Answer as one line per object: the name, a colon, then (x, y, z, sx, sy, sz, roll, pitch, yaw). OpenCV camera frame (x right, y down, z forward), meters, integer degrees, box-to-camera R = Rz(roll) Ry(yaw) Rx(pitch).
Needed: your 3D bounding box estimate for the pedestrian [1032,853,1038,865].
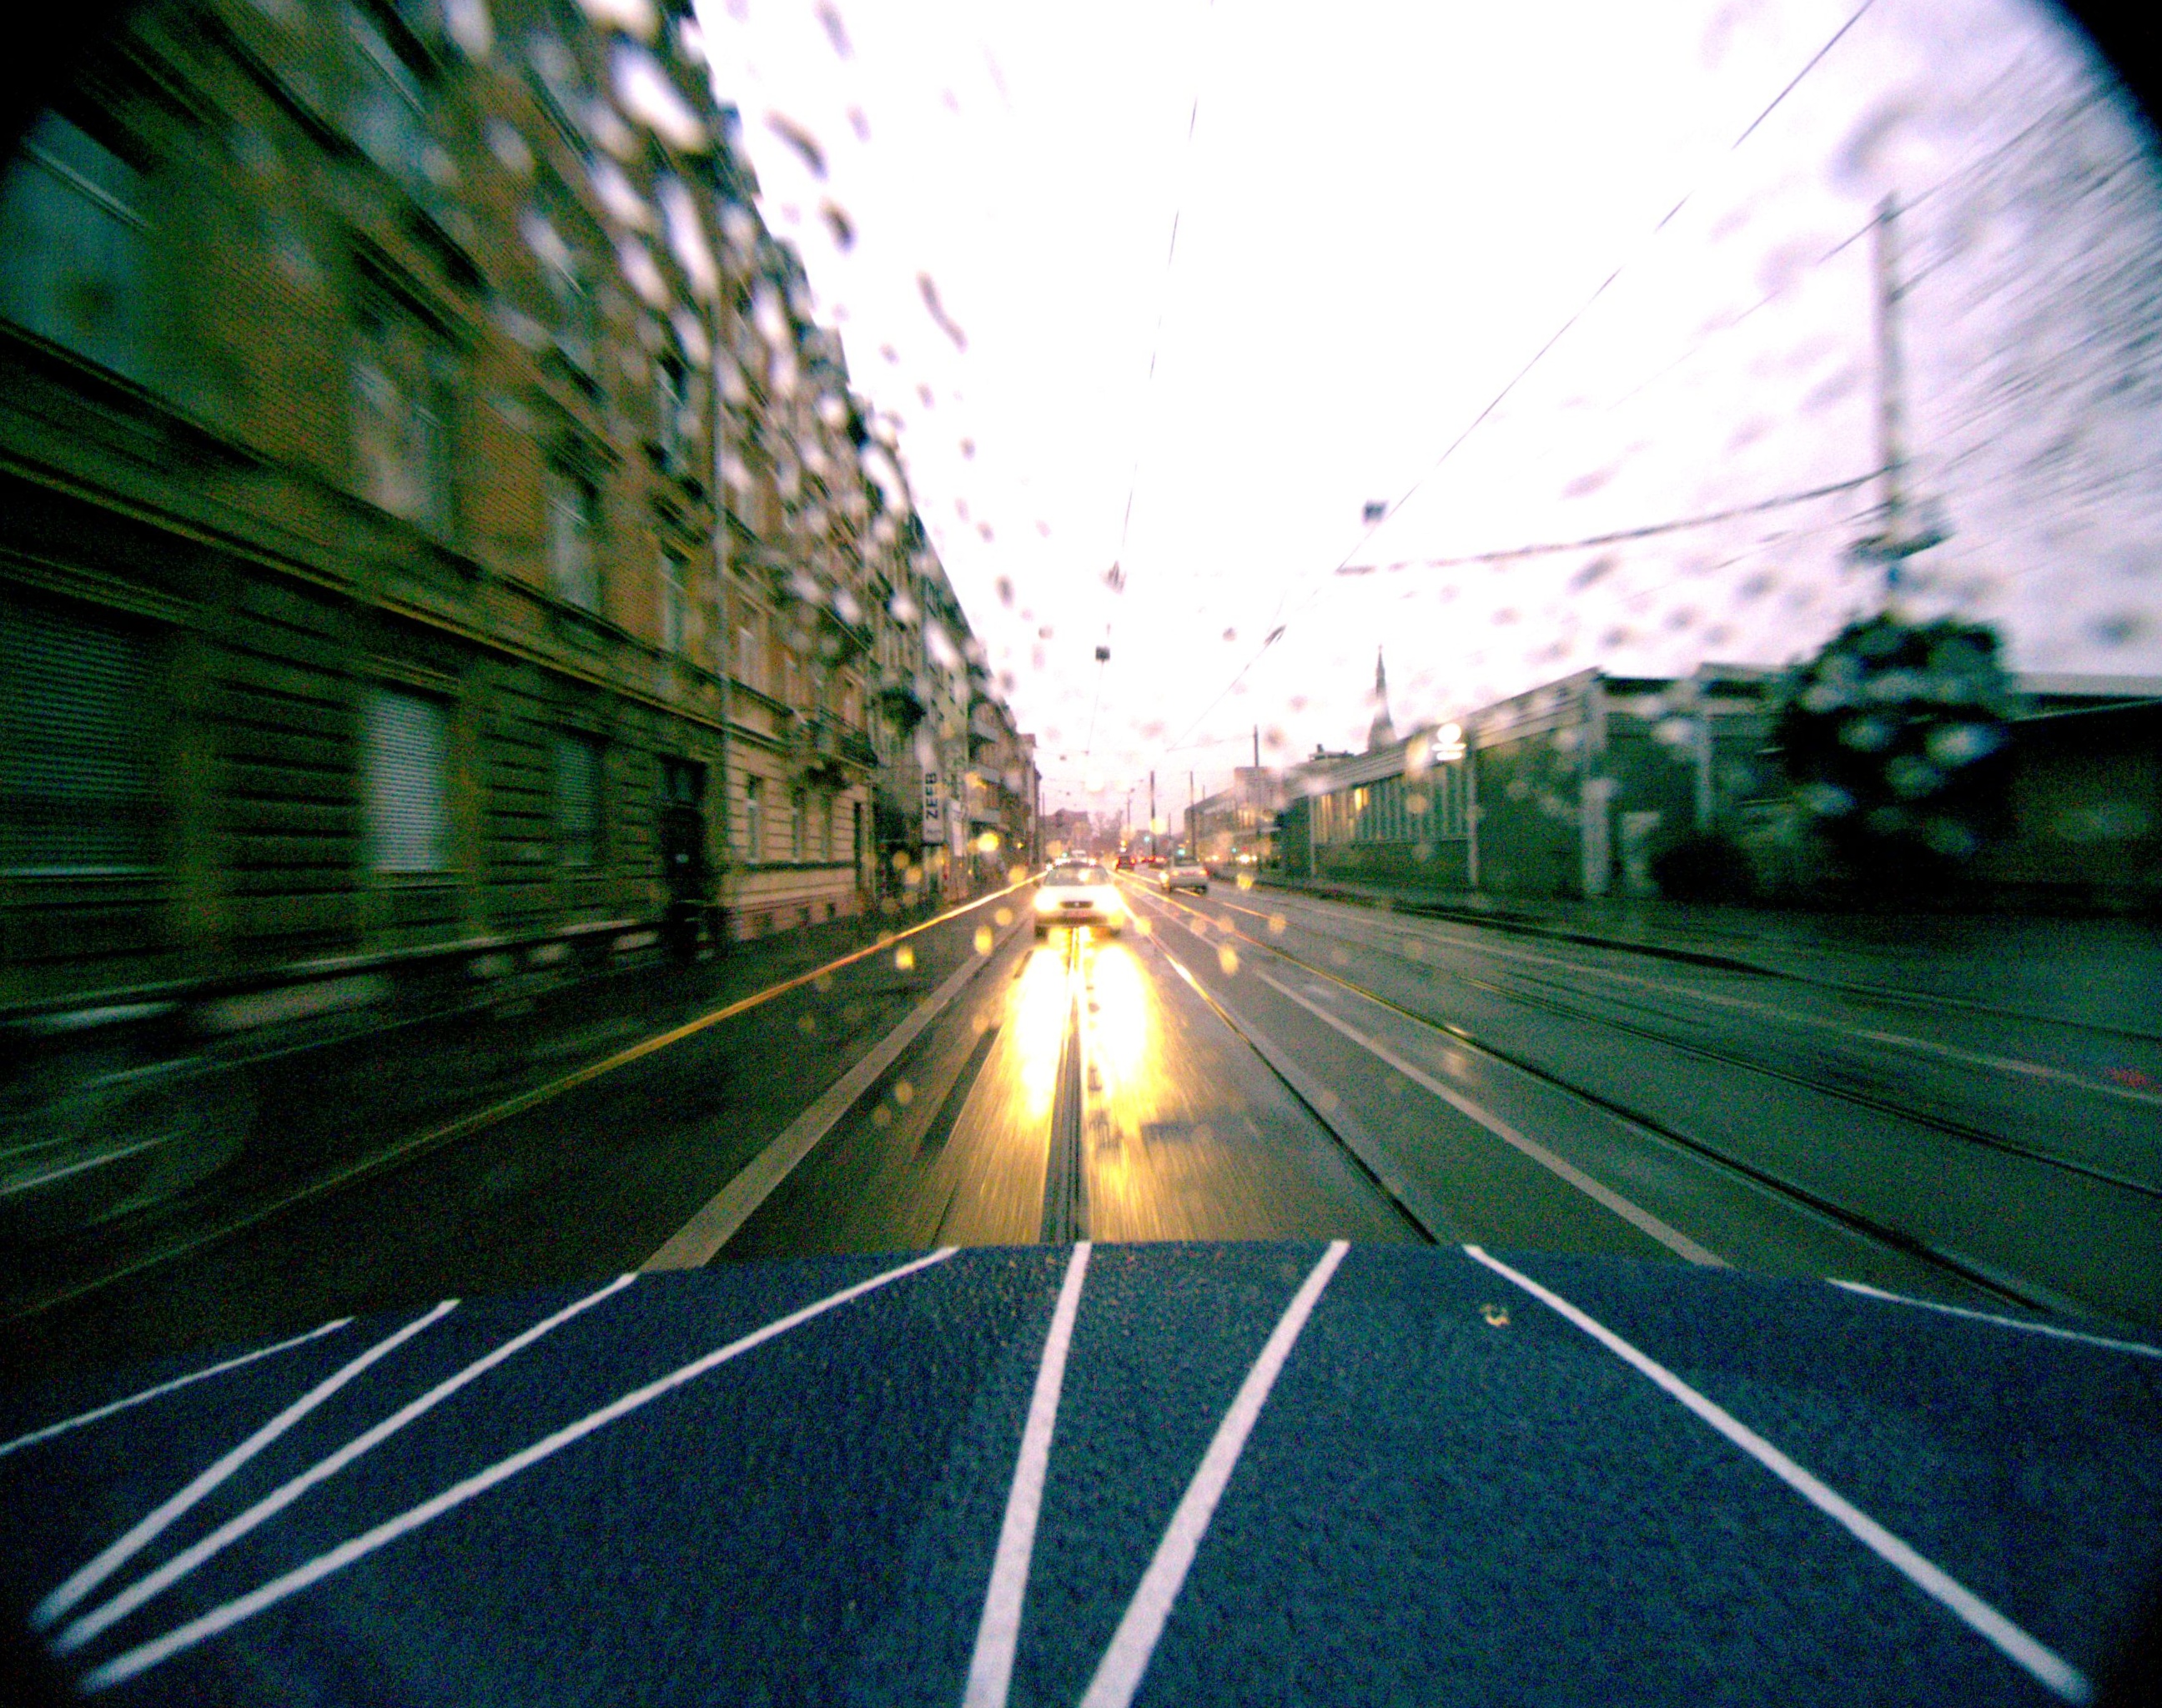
pedestrian: (-6.496, 0.748, 107.792, 0.777, 1.734, 0.673, -1, 1, 1)

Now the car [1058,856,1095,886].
car: (-0.197, 0.897, 41.365, 1.797, 1.415, 4.000, -2, 0, 2)

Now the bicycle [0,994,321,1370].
bicycle: (-4.309, 1.322, 2.824, 0.685, 1.149, 2.188, -2, 1, 0)

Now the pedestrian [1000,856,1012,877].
pedestrian: (-5.746, 0.940, 58.217, 0.788, 1.588, 0.741, -2, 1, -2)

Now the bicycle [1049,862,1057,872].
bicycle: (-2.753, 1.262, 74.646, 0.725, 0.985, 2.212, -2, 0, 0)

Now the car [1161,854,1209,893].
car: (4.327, 0.767, 31.996, 1.534, 1.473, 3.561, -2, 0, 0)

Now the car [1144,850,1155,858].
car: (13.537, -0.049, 150.371, 1.845, 1.569, 4.442, -2, 0, 2)

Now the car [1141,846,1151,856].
car: (14.509, -0.670, 170.546, 1.998, 2.002, 4.685, -2, 1, 4)

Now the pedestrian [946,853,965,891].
pedestrian: (-6.022, 0.853, 36.318, 0.601, 1.808, 0.774, -3, 1, -27)

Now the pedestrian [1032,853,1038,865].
pedestrian: (-6.549, 0.681, 108.694, 0.777, 1.734, 0.673, -1, 1, 1)

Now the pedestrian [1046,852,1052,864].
pedestrian: (-4.567, 0.552, 109.082, 0.777, 1.734, 0.673, -1, 1, 1)

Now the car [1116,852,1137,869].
car: (4.636, 0.629, 77.878, 1.880, 1.700, 4.760, -1, 0, -1)

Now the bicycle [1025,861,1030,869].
bicycle: (-6.269, 1.237, 89.225, 0.398, 0.906, 1.866, -2, 0, 0)

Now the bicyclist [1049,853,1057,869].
bicyclist: (-2.758, 0.671, 74.712, 0.727, 1.525, 0.785, -2, 1, 0)

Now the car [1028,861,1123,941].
car: (-0.037, 0.927, 16.711, 1.797, 1.415, 4.000, -2, 0, 2)

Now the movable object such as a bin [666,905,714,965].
movable object such as a bin: (-6.435, 1.322, 12.522, 0.508, 0.926, 0.507, -2, 1, -1)

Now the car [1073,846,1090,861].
car: (0.090, -0.099, 95.108, 2.018, 1.809, 3.688, -2, 1, 0)

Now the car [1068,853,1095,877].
car: (0.063, 0.749, 55.086, 1.824, 1.565, 4.000, -2, 0, 1)

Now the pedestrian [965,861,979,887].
pedestrian: (-6.008, 1.105, 41.903, 0.601, 1.369, 0.728, -2, 1, 0)
